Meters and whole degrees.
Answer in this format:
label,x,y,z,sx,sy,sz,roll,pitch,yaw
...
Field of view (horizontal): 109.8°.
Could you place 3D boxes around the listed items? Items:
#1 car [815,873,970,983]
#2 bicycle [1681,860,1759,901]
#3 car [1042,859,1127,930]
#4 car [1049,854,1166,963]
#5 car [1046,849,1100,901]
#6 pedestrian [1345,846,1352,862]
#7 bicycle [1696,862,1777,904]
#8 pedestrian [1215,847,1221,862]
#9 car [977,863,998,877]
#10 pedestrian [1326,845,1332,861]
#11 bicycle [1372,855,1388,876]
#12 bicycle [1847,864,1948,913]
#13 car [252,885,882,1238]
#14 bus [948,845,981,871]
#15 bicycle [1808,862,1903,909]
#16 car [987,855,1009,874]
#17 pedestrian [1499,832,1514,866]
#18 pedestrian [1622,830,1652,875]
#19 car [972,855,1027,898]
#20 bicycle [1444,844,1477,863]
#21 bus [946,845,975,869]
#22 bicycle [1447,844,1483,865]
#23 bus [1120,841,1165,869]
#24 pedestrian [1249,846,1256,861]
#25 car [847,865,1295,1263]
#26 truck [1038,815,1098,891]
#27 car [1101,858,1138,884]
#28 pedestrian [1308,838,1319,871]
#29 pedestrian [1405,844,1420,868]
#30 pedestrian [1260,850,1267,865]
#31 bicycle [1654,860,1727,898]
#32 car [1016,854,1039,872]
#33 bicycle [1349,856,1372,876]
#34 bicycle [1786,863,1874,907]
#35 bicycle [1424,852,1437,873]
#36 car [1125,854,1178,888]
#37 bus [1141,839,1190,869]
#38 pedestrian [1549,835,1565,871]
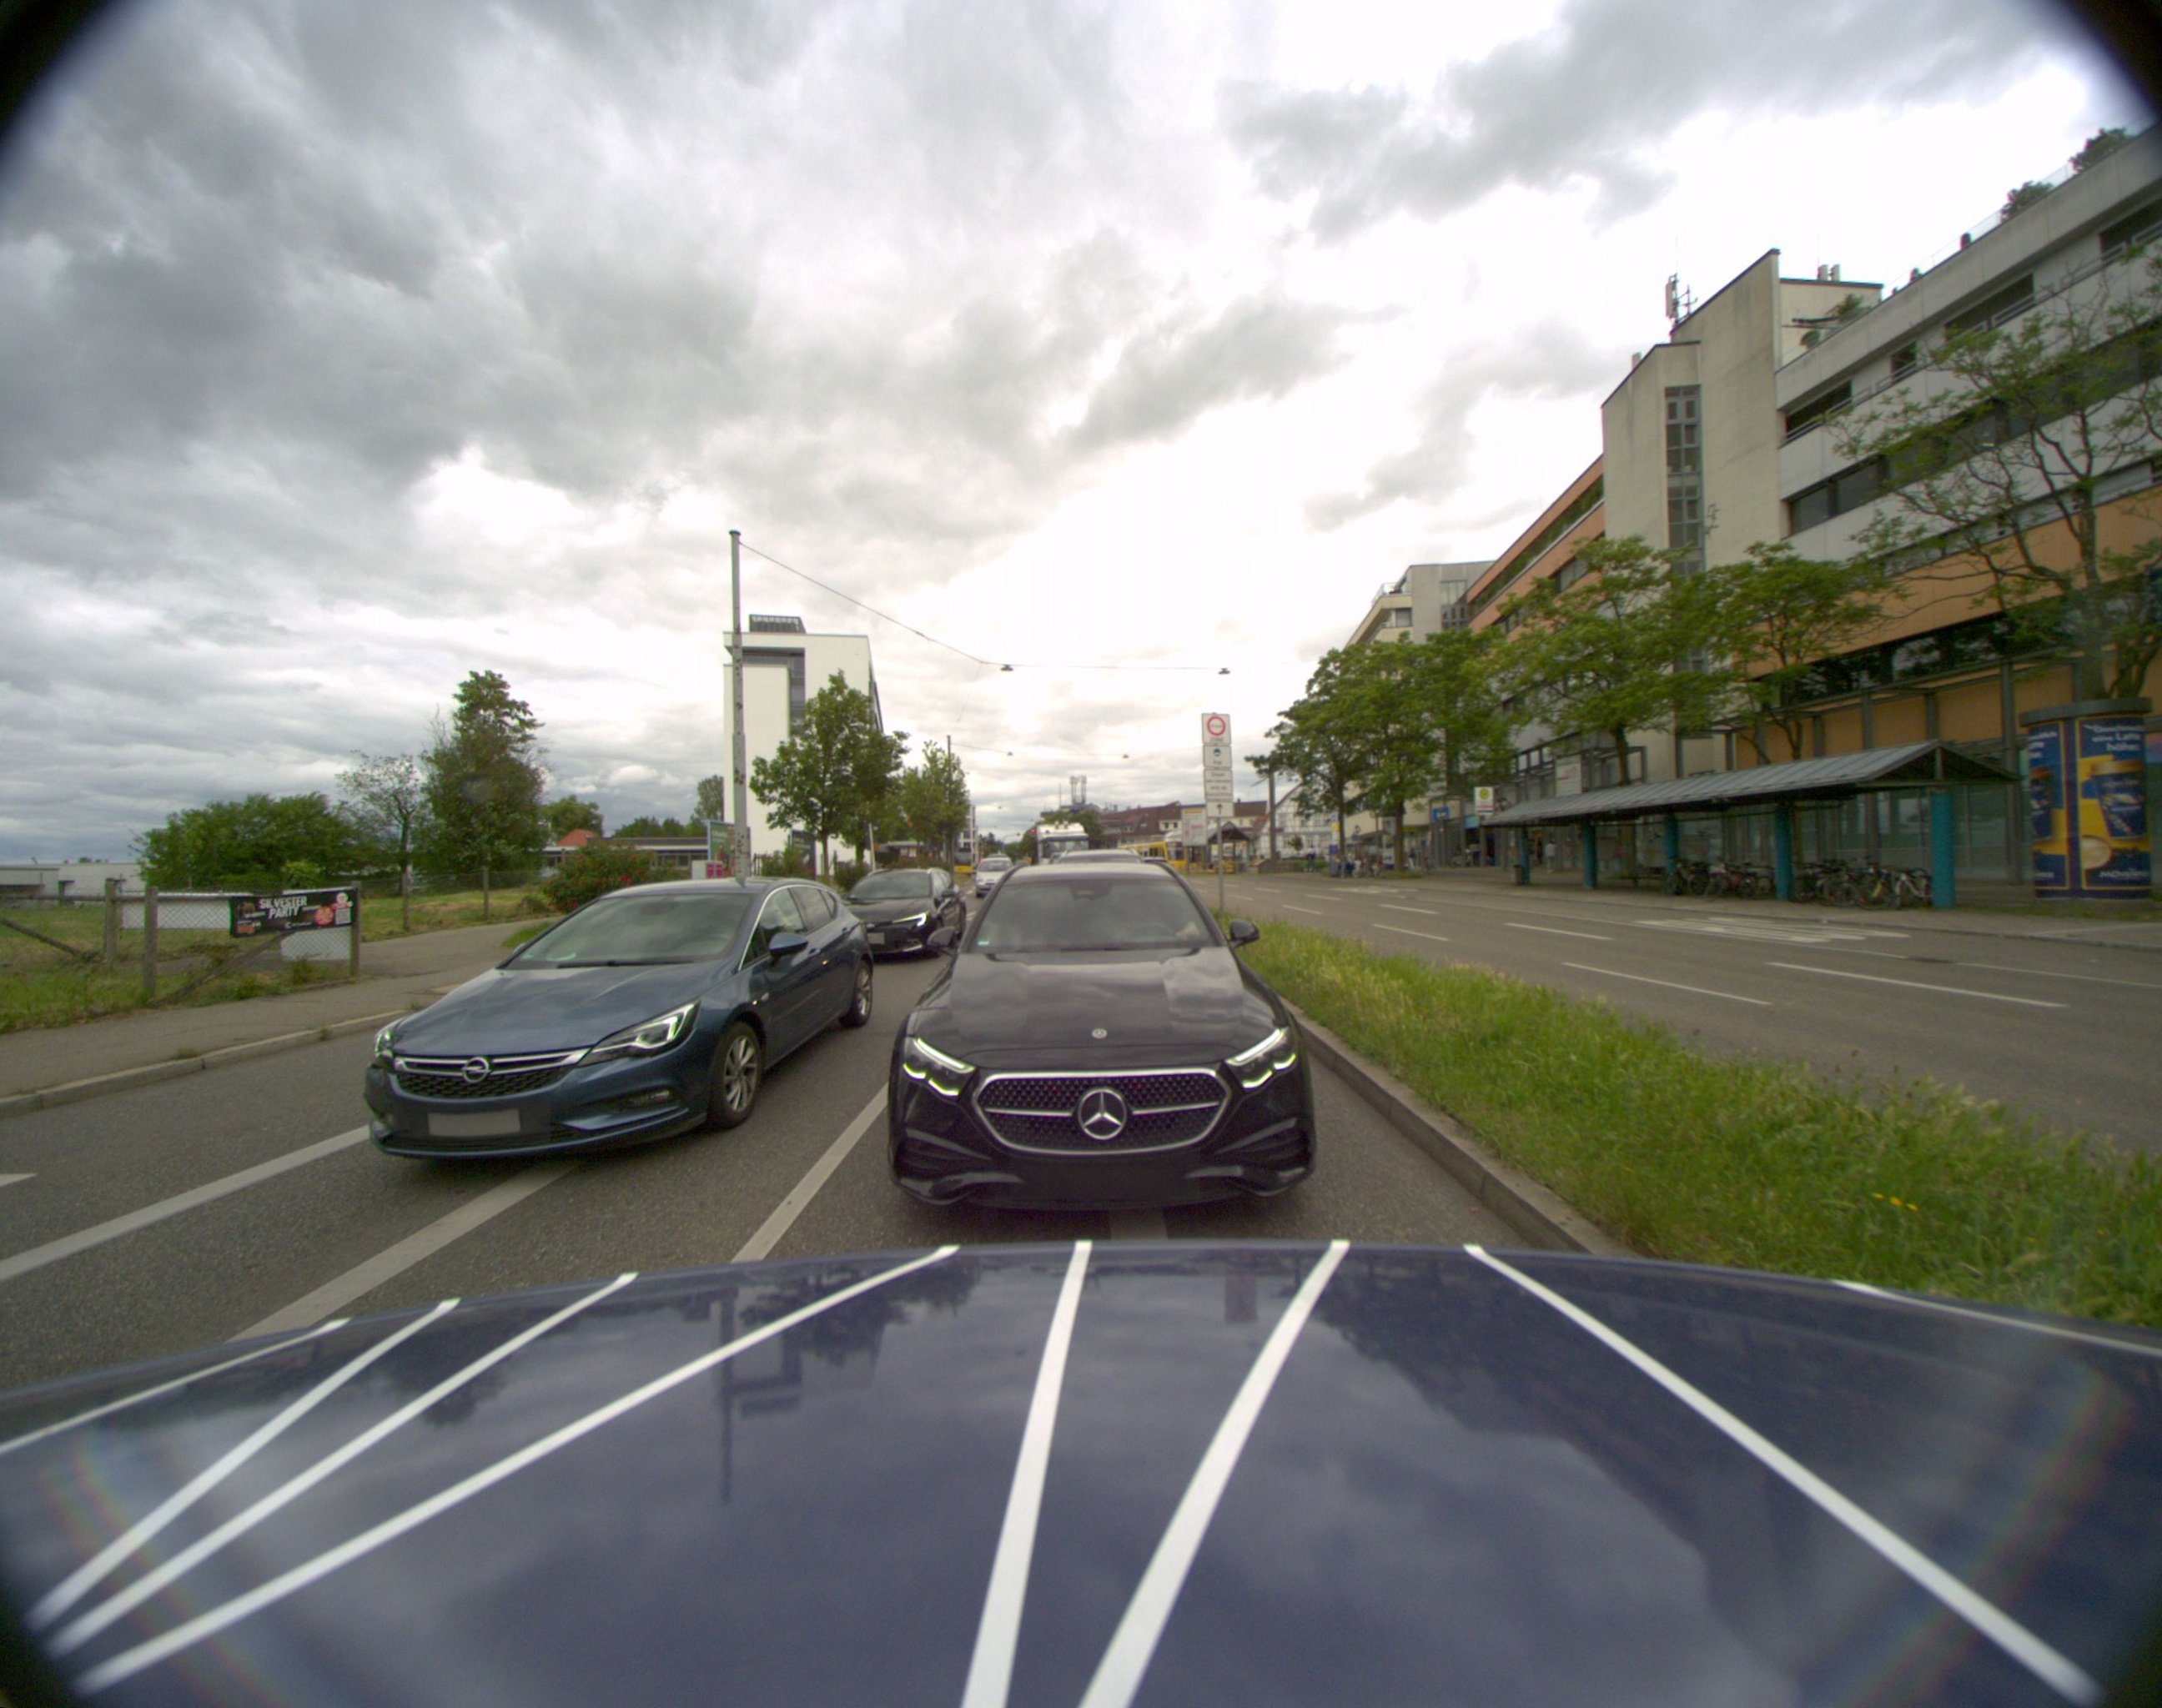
label,x,y,z,sx,sy,sz,roll,pitch,yaw
car,-3.051,1.132,13.131,1.665,1.448,3.921,-2,0,0
bicycle,18.287,0.740,21.751,1.735,1.035,0.549,-4,1,-2
car,0.048,0.909,18.917,1.865,1.520,3.999,-1,0,-1
car,0.396,0.819,13.491,1.734,1.601,4.000,-2,0,0
car,-0.364,0.714,28.353,1.865,1.773,3.999,-1,0,-2
pedestrian,19.355,0.002,54.955,0.341,1.172,0.369,-1,1,-9
bicycle,17.951,0.787,20.819,1.735,1.035,0.549,-3,1,-2
pedestrian,19.170,0.083,106.248,0.742,2.002,0.939,-1,1,11
car,-11.684,1.930,94.448,2.001,1.592,3.994,-1,0,-15
pedestrian,24.066,-0.093,73.752,0.555,1.485,0.454,-1,1,8
bicycle,16.405,0.618,41.654,0.593,1.071,2.041,0,1,29
bicycle,18.689,0.781,17.407,1.735,1.035,0.549,-2,1,-2
car,-2.910,1.049,5.535,1.826,1.402,4.000,-2,0,0
bus,-12.814,0.386,82.735,2.969,2.616,12.137,-2,1,-11
bicycle,18.629,0.749,18.292,1.735,1.035,0.549,-3,1,-2
car,-8.524,1.020,77.645,2.000,1.811,3.996,-1,0,-10
pedestrian,25.223,-0.315,45.035,0.566,2.002,0.611,-1,1,6
pedestrian,25.164,-0.085,34.416,0.710,2.002,0.794,-2,1,-6
car,-3.418,0.913,32.455,1.851,1.606,3.783,-3,0,0
bicycle,27.760,-0.032,55.560,2.138,1.358,0.620,-2,1,26
bus,-15.219,0.341,95.058,2.969,2.616,12.911,-2,1,-11
bicycle,26.997,0.025,53.409,2.139,1.367,0.620,-2,1,18
bus,6.940,0.105,87.962,2.556,2.966,9.790,-1,0,-11
pedestrian,22.364,-0.051,99.089,0.879,2.002,1.010,-1,1,6
car,-0.049,0.883,5.199,1.793,1.507,4.249,-1,0,0
truck,-0.763,-0.046,36.733,2.490,3.258,7.428,-1,0,-4
car,2.478,1.081,49.616,1.840,1.512,4.069,0,2,-5
pedestrian,16.301,0.060,53.241,0.590,2.294,0.608,-1,1,-2
pedestrian,24.373,0.145,55.919,0.765,1.673,0.752,-1,1,1
pedestrian,19.237,0.359,80.056,0.577,1.533,0.583,-1,1,-8
bicycle,18.208,0.745,22.712,1.735,1.035,0.549,-3,1,-2
car,-5.623,0.929,79.462,2.000,1.674,3.997,-4,1,-8
bicycle,15.482,0.651,42.026,0.593,1.071,2.041,0,1,38
bicycle,19.029,0.771,19.317,1.735,1.035,0.549,-2,1,-2
bicycle,19.490,0.464,42.394,0.593,1.119,2.040,0,1,24
car,3.336,0.795,36.795,1.714,1.472,4.286,-2,0,-6
bus,8.702,-0.001,79.023,2.556,2.966,8.498,-1,0,-11
pedestrian,24.102,-0.052,38.497,0.648,1.799,0.761,0,1,34
